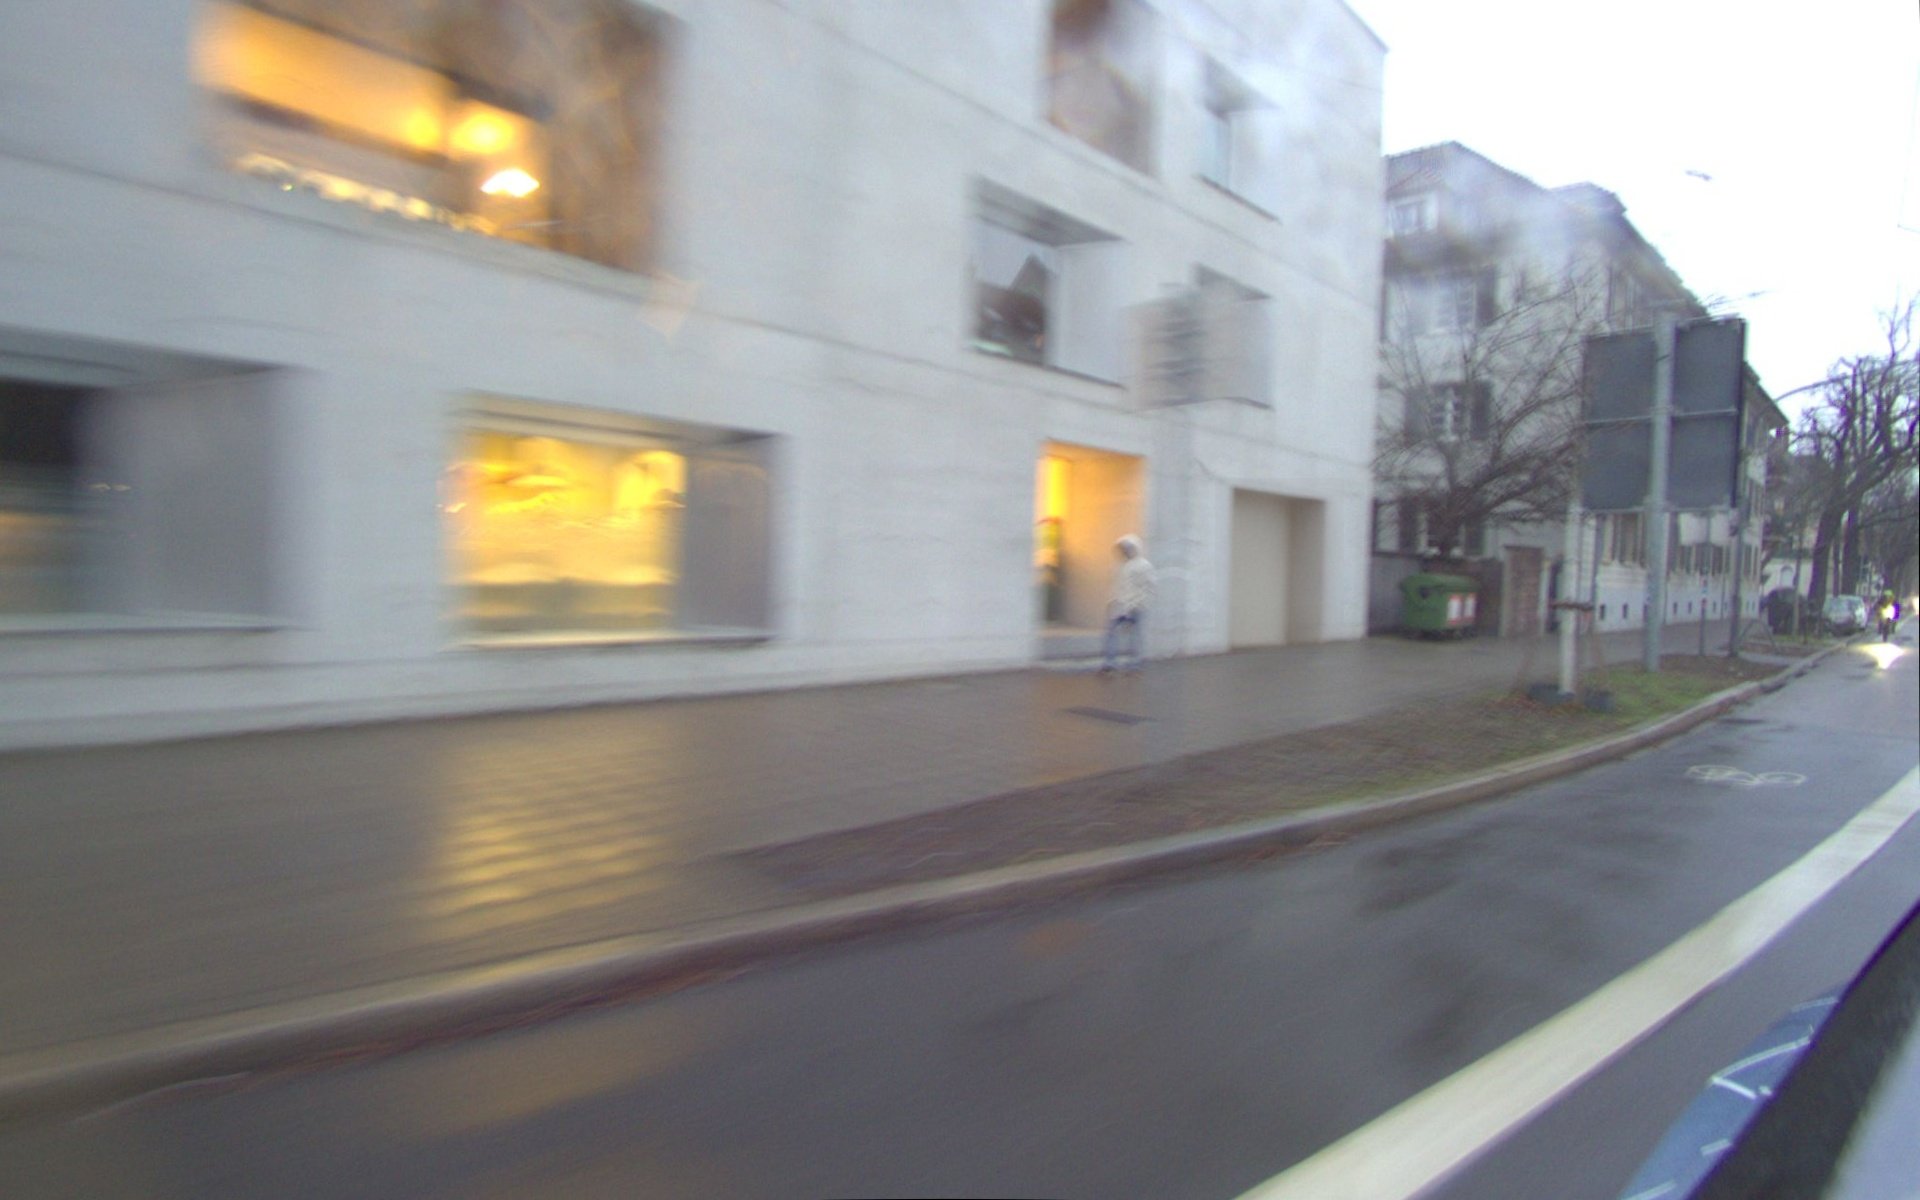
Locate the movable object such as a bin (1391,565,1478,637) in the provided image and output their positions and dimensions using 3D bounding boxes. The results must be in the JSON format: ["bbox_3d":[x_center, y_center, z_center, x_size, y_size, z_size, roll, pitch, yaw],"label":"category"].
[{"bbox_3d":[10.300,-0.007,21.964,1.396,1.463,1.257,0,3,-45],"label":"movable object such as a bin"}]

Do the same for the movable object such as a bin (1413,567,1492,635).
[{"bbox_3d":[11.400,-0.001,23.416,1.256,1.463,1.397,3,3,43],"label":"movable object such as a bin"}]

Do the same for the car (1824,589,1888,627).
[{"bbox_3d":[38.714,0.315,43.707,3.440,1.535,1.657,-1,0,-41],"label":"car"}]

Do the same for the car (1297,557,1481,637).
[{"bbox_3d":[9.629,-0.075,22.854,1.704,1.668,3.451,-1,0,-45],"label":"car"}]

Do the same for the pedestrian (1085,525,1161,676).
[{"bbox_3d":[2.108,-0.019,13.088,0.648,1.882,0.657,0,3,-43],"label":"pedestrian"}]

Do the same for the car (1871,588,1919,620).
[{"bbox_3d":[46.299,0.178,49.904,3.440,1.535,1.657,-1,0,-41],"label":"car"}]

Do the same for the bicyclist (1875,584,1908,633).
[{"bbox_3d":[30.865,0.269,33.533,0.746,1.601,0.787,0,0,40],"label":"bicyclist"}]

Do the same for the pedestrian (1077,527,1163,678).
[{"bbox_3d":[2.076,0.010,13.146,0.706,1.881,0.772,0,3,-43],"label":"pedestrian"}]

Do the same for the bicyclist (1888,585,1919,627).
[{"bbox_3d":[31.065,0.197,33.277,0.706,1.360,0.717,0,0,-38],"label":"bicyclist"}]

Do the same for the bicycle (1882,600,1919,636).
[{"bbox_3d":[31.032,0.597,33.248,2.243,1.104,0.724,2,0,-38],"label":"bicycle"}]

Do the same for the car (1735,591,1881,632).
[{"bbox_3d":[31.322,0.412,37.540,3.822,1.447,1.844,0,0,29],"label":"car"}]
